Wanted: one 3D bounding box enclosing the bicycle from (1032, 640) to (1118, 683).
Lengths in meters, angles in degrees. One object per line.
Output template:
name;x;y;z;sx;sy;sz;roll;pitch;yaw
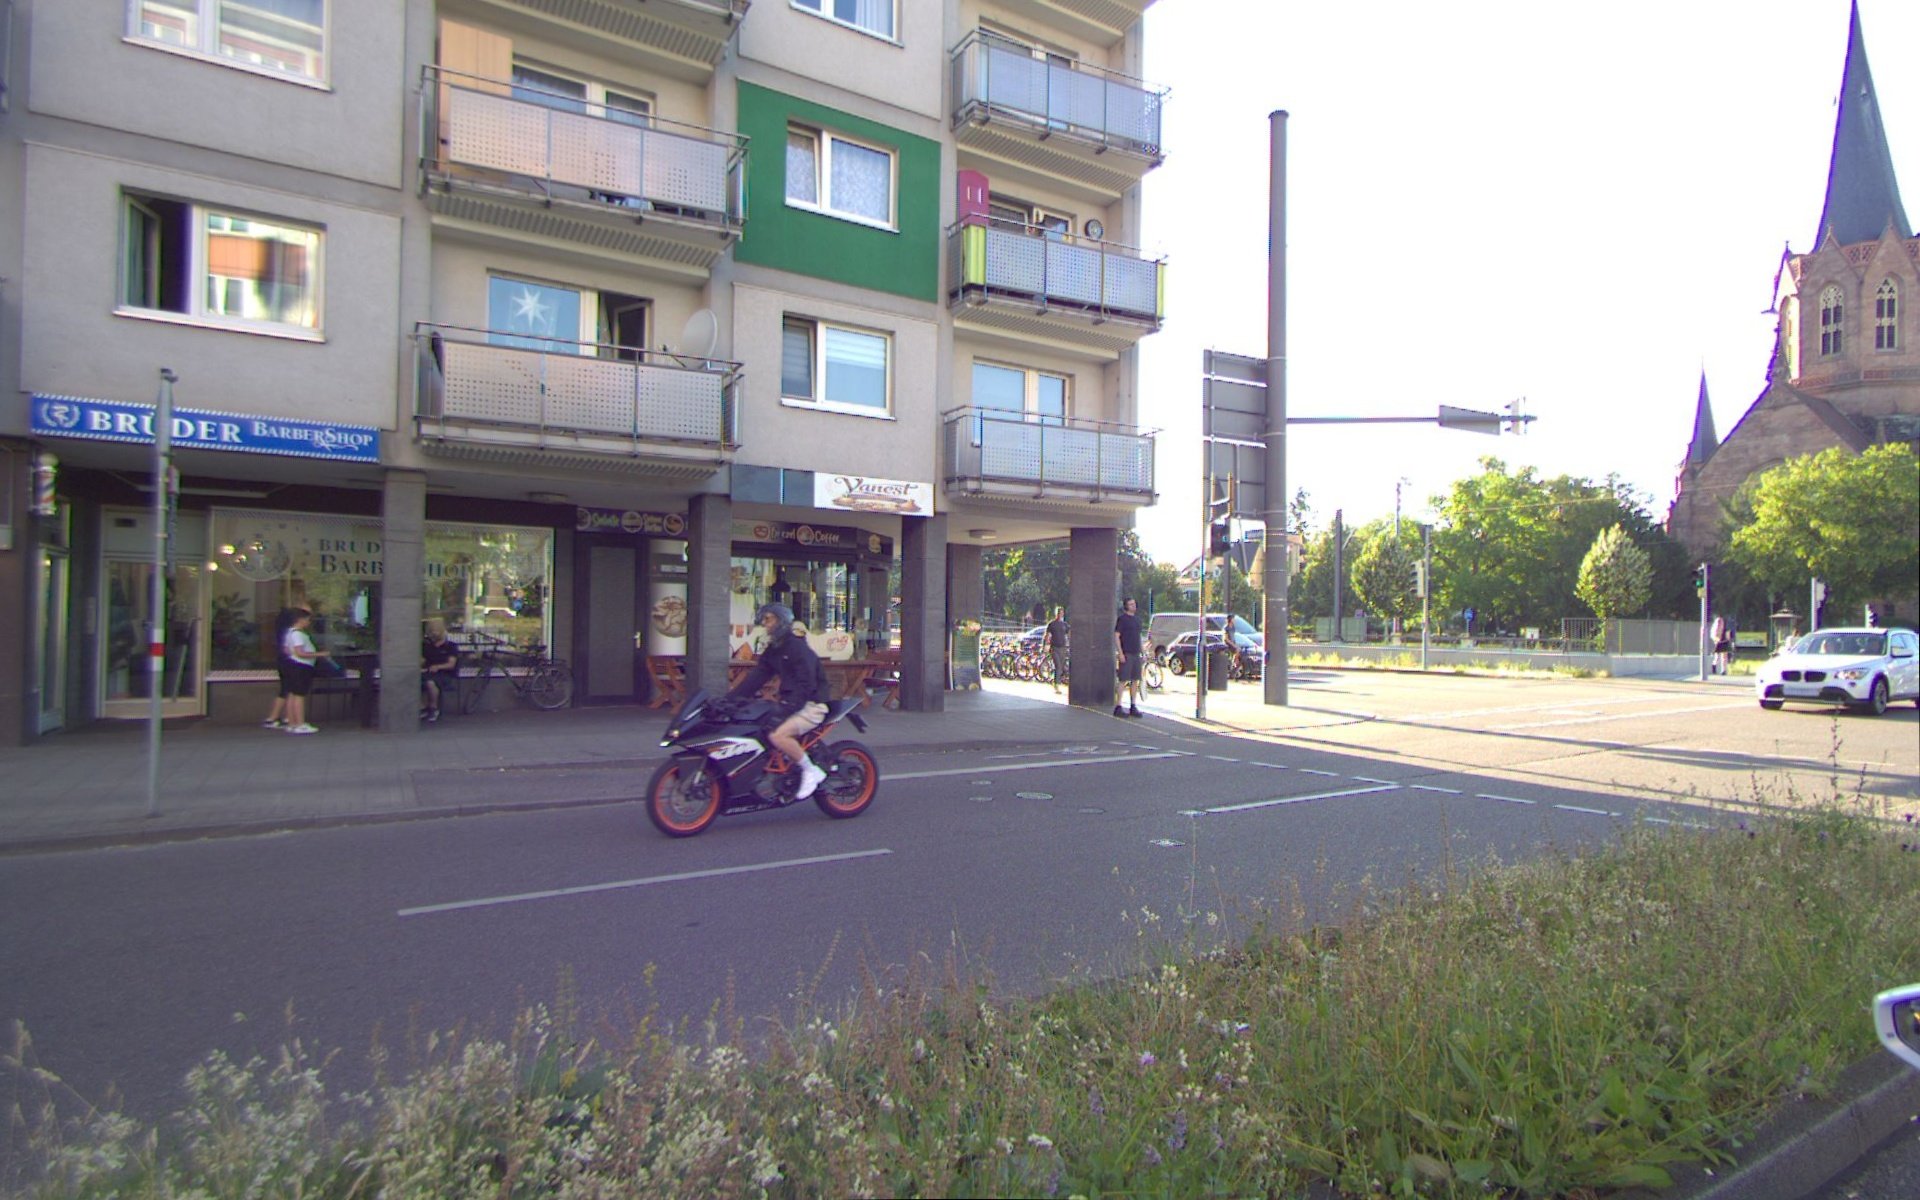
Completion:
bicycle;3.024;1.609;26.279;2.273;1.065;0.731;2;-2;-31

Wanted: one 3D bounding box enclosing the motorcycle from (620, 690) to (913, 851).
motorcycle;-1.409;1.202;7.494;2.025;0.976;0.744;1;-2;-32

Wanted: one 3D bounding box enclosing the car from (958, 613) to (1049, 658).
car;2.017;1.657;48.286;1.978;2.040;4.896;2;-2;-32

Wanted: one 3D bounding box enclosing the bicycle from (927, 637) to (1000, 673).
bicycle;0.111;1.721;31.426;2.273;1.065;0.642;2;-2;-31

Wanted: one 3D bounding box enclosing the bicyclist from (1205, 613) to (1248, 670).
bicyclist;7.732;1.193;29.173;0.952;1.619;0.732;1;-2;-30

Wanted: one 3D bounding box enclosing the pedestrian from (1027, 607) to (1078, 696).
pedestrian;1.947;1.080;21.189;0.802;1.811;0.606;1;2;-27

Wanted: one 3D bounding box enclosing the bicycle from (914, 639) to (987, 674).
bicycle;-0.286;1.791;32.103;2.273;1.065;0.731;2;-2;-31

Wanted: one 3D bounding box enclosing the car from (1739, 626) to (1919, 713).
car;16.846;1.255;19.124;4.198;1.508;1.744;1;-2;-30

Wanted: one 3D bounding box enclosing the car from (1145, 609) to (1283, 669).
car;9.164;1.386;36.673;1.978;2.040;4.896;2;-2;-32

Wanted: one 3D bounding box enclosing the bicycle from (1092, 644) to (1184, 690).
bicycle;4.312;1.599;24.250;2.273;1.065;0.731;2;-1;-31

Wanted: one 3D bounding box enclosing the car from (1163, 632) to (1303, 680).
car;8.483;1.712;31.545;1.781;1.330;4.165;2;-2;-32

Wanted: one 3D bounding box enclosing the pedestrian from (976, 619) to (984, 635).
pedestrian;2.354;3.204;118.915;0.677;1.847;0.531;2;-1;-27

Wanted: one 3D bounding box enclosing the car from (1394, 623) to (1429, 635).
car;68.174;4.378;151.695;1.985;1.592;4.411;2;-2;-41

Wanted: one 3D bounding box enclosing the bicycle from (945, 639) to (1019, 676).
bicycle;0.685;1.743;30.410;2.273;1.065;0.558;2;-2;-31

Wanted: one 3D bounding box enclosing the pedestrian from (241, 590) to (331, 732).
pedestrian;-8.292;0.732;12.370;0.613;1.694;0.658;0;-1;24

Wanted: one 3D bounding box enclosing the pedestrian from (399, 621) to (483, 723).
pedestrian;-7.068;0.960;13.707;0.613;1.331;0.811;0;-1;16

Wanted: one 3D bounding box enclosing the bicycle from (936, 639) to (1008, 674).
bicycle;0.390;1.735;30.918;2.273;1.065;0.558;2;-2;-31

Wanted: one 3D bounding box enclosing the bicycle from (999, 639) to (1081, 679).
bicycle;2.220;1.628;27.777;2.273;1.065;0.731;2;-2;-31

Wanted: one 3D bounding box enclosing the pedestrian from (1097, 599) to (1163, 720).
pedestrian;2.777;0.951;16.409;0.803;1.900;0.605;1;2;-30

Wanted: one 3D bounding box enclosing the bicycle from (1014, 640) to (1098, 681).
bicycle;2.608;1.618;27.088;2.273;1.065;0.731;2;-2;-31

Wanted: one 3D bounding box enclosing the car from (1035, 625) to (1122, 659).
car;5.158;1.836;44.159;1.781;1.392;3.880;2;-2;-32

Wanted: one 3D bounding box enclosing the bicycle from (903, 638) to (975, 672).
bicycle;-0.682;1.801;32.798;2.273;1.065;0.731;2;-2;-31

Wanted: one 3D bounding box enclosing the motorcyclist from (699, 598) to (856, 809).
motorcyclist;-1.369;0.733;7.513;0.947;1.460;0.744;1;-2;-32

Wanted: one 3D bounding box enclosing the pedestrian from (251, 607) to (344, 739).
pedestrian;-7.766;0.837;11.781;0.613;1.486;0.658;0;-1;24

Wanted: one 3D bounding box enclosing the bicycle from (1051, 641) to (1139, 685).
bicycle;3.449;1.592;25.613;2.273;1.065;0.731;2;-2;-31

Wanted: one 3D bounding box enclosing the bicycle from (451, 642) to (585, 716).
bicycle;-6.478;1.137;14.762;1.684;1.012;0.619;2;-2;-40

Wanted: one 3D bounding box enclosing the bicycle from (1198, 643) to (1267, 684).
bicycle;7.847;1.810;28.967;0.940;1.112;1.769;1;-2;-30

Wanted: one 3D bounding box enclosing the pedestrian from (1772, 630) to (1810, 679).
pedestrian;29.802;1.939;36.032;0.884;1.719;0.705;2;0;-26

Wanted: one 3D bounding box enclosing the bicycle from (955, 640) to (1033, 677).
bicycle;1.013;1.727;29.825;2.273;1.065;0.731;2;-2;-31

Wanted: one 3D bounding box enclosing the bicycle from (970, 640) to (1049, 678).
bicycle;1.452;1.713;29.146;2.273;1.065;0.731;2;-2;-31

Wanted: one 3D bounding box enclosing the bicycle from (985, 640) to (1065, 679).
bicycle;1.855;1.686;28.455;2.273;1.065;0.731;2;-2;-31

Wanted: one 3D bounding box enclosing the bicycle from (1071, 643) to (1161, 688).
bicycle;3.887;1.605;24.932;2.273;1.065;0.731;2;-2;-31

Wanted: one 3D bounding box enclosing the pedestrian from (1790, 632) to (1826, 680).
pedestrian;31.962;2.095;37.865;1.008;1.719;0.835;2;0;-39

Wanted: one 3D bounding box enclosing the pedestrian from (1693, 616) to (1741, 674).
pedestrian;23.719;1.406;31.478;0.803;1.762;0.960;2;-1;-32
